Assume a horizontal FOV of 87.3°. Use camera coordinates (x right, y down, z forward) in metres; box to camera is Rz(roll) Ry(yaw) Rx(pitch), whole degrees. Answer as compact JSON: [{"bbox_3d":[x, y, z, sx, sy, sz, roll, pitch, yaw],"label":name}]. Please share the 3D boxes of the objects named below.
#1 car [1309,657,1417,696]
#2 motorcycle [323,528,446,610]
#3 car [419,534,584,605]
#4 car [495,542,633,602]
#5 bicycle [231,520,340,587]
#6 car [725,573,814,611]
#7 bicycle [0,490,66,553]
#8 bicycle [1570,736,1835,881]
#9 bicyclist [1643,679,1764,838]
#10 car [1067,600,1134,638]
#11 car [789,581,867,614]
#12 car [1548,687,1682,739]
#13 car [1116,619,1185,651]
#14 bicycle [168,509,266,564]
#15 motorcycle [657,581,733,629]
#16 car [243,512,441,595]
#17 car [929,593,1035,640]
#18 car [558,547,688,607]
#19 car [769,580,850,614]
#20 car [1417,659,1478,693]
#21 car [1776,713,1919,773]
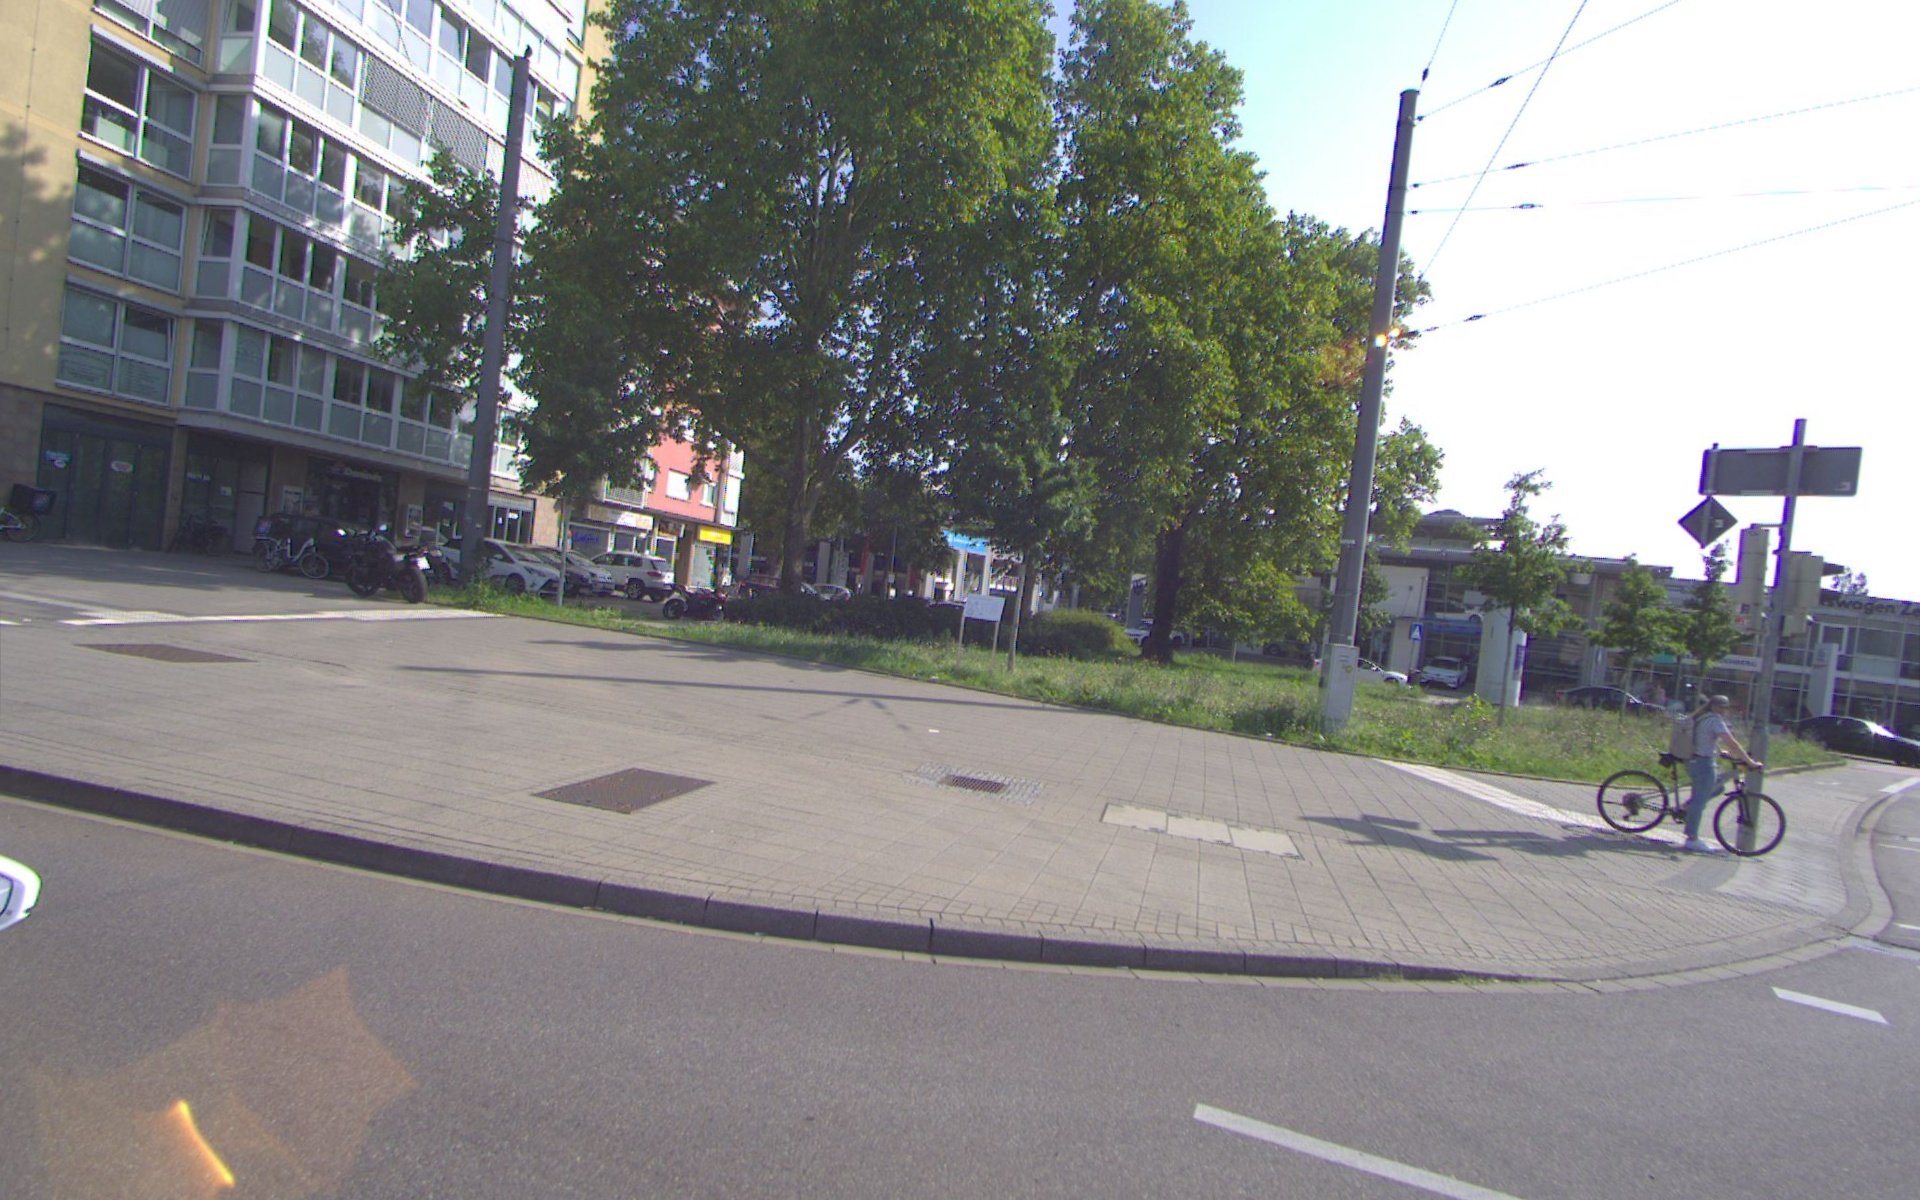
[{"bbox_3d":[19.070,3.632,47.709,4.328,1.180,1.994,7,1,35],"label":"car"},{"bbox_3d":[-9.957,-0.546,17.379,2.262,1.161,0.704,7,1,30],"label":"motorcycle"},{"bbox_3d":[-13.460,-0.876,29.622,3.924,1.526,2.000,7,1,15],"label":"car"},{"bbox_3d":[-13.676,-0.948,34.842,3.924,1.526,2.000,7,1,15],"label":"car"},{"bbox_3d":[-15.482,-1.071,23.094,2.257,1.250,0.524,7,1,9],"label":"bicycle"},{"bbox_3d":[-9.790,-0.409,51.795,3.924,1.393,2.000,7,1,13],"label":"car"},{"bbox_3d":[-20.250,-1.699,21.189,0.658,1.221,2.023,7,1,14],"label":"bicycle"},{"bbox_3d":[7.569,2.091,10.375,2.043,0.906,0.565,10,5,37],"label":"bicycle"},{"bbox_3d":[7.645,1.599,10.374,0.807,1.445,0.728,9,2,36],"label":"bicyclist"},{"bbox_3d":[9.591,1.305,68.746,3.942,2.039,1.938,8,1,40],"label":"car"},{"bbox_3d":[-7.573,-0.143,57.769,3.924,1.393,1.743,7,1,13],"label":"car"},{"bbox_3d":[26.943,4.611,41.432,4.333,1.387,1.992,7,1,39],"label":"car"},{"bbox_3d":[12.240,2.250,64.680,4.021,1.480,1.982,8,0,-33],"label":"car"},{"bbox_3d":[-19.256,-1.626,26.122,0.658,1.199,2.023,7,1,14],"label":"bicycle"},{"bbox_3d":[-6.975,0.128,26.453,1.923,1.014,0.704,7,1,30],"label":"motorcycle"},{"bbox_3d":[-15.103,-1.134,24.621,4.114,1.459,1.662,7,1,15],"label":"car"},{"bbox_3d":[0.940,0.686,41.807,3.924,1.393,2.000,7,1,13],"label":"car"},{"bbox_3d":[-12.373,-0.840,37.015,3.924,1.665,2.000,7,1,15],"label":"car"},{"bbox_3d":[-8.320,-0.156,55.739,3.924,1.393,1.743,7,1,13],"label":"car"},{"bbox_3d":[26.625,4.151,54.848,1.970,1.480,4.307,8,0,38],"label":"car"},{"bbox_3d":[32.334,5.121,36.000,1.980,1.387,4.358,7,1,-33],"label":"car"}]
